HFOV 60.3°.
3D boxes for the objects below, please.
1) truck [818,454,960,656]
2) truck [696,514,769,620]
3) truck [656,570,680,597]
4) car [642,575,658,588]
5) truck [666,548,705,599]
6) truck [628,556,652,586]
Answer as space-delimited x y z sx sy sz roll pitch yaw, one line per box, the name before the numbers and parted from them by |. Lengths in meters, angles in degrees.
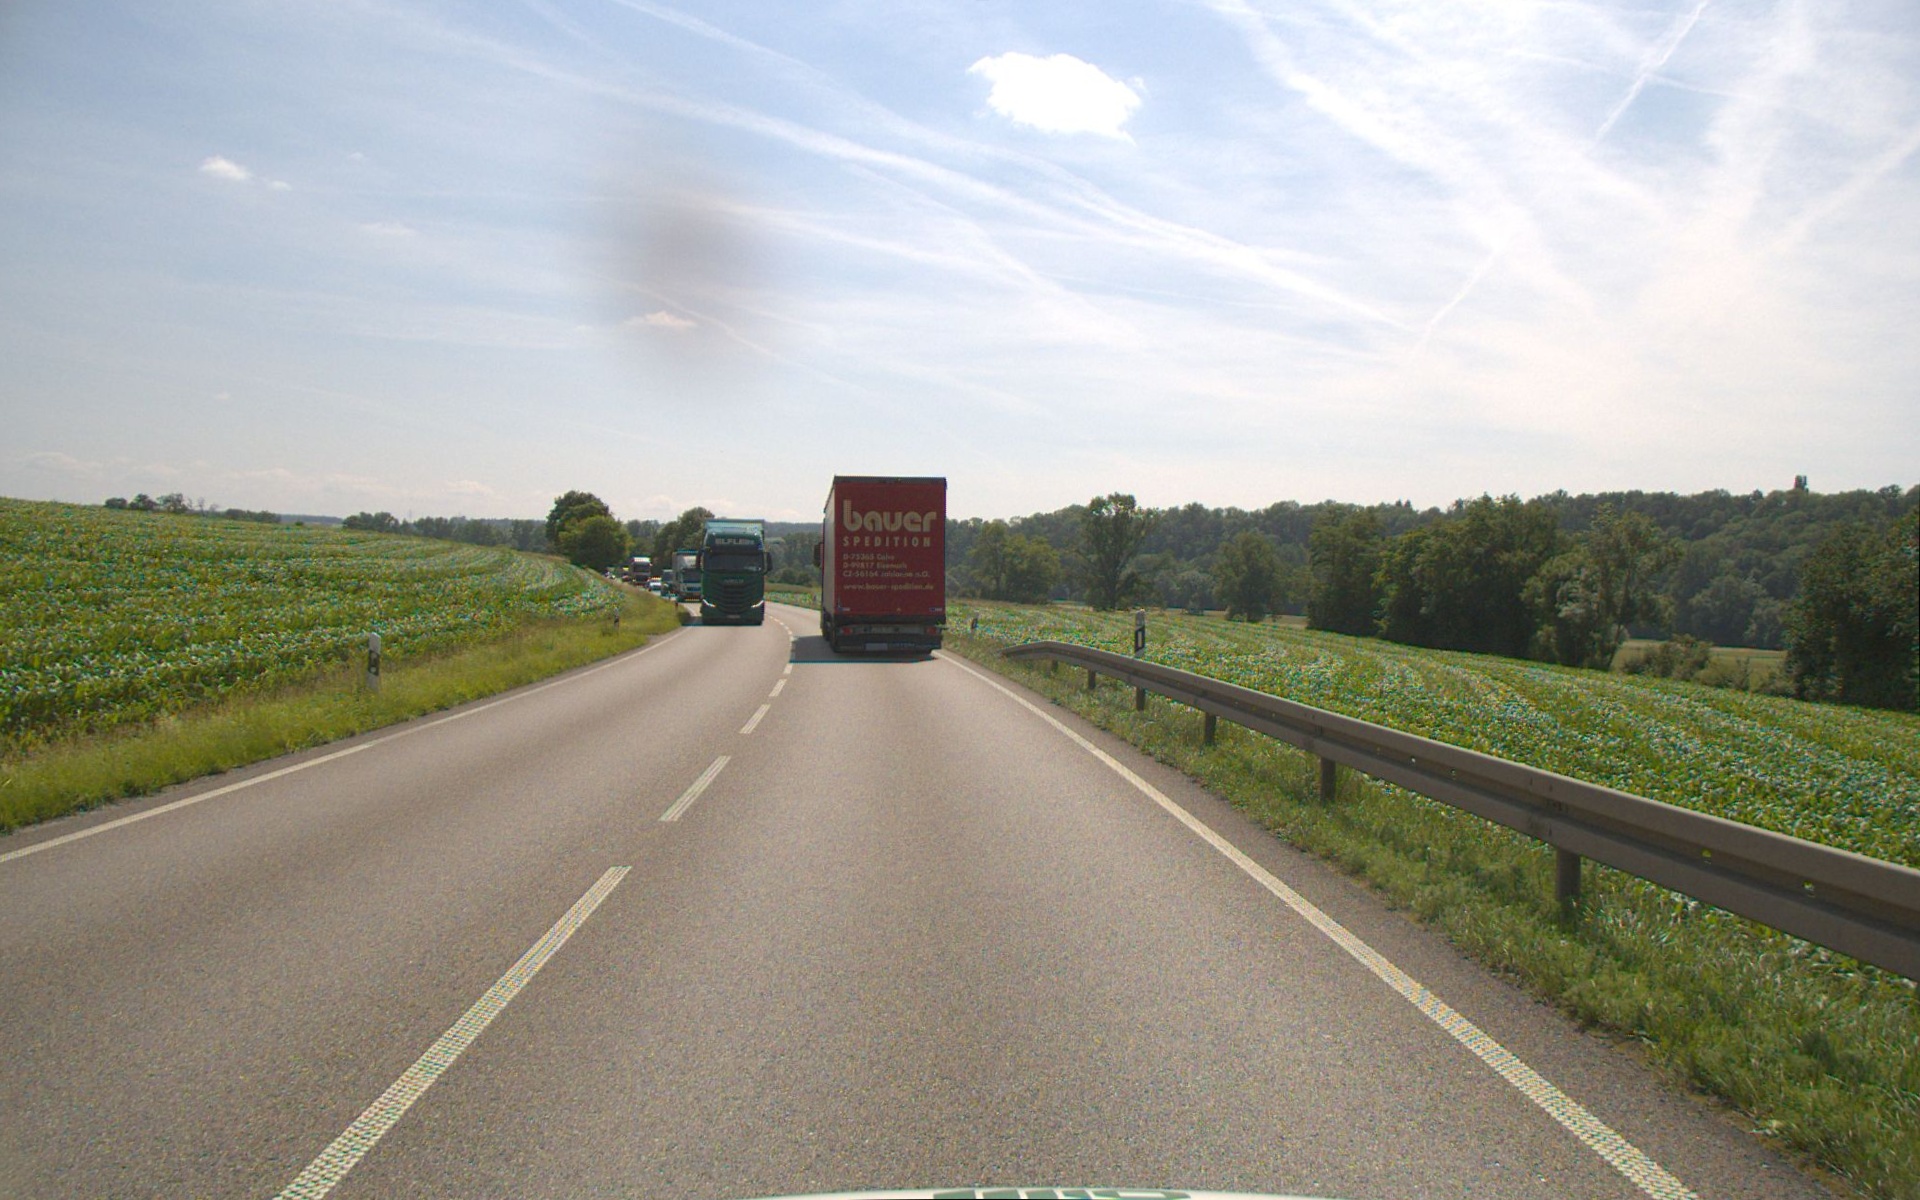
truck | -1.797 -0.983 40.078 3.033 4.337 8.308 1 0 -4
truck | -10.001 -1.356 72.033 2.719 4.068 16.994 1 1 -9
truck | -26.660 -1.501 151.033 1.974 2.360 5.176 1 1 -12
car | -34.572 -2.069 184.577 1.697 1.465 4.165 0 1 -11
truck | -20.498 -1.976 123.814 2.691 3.641 9.706 1 0 -9
truck | -45.051 -4.012 232.386 2.778 4.062 16.479 0 1 -13
